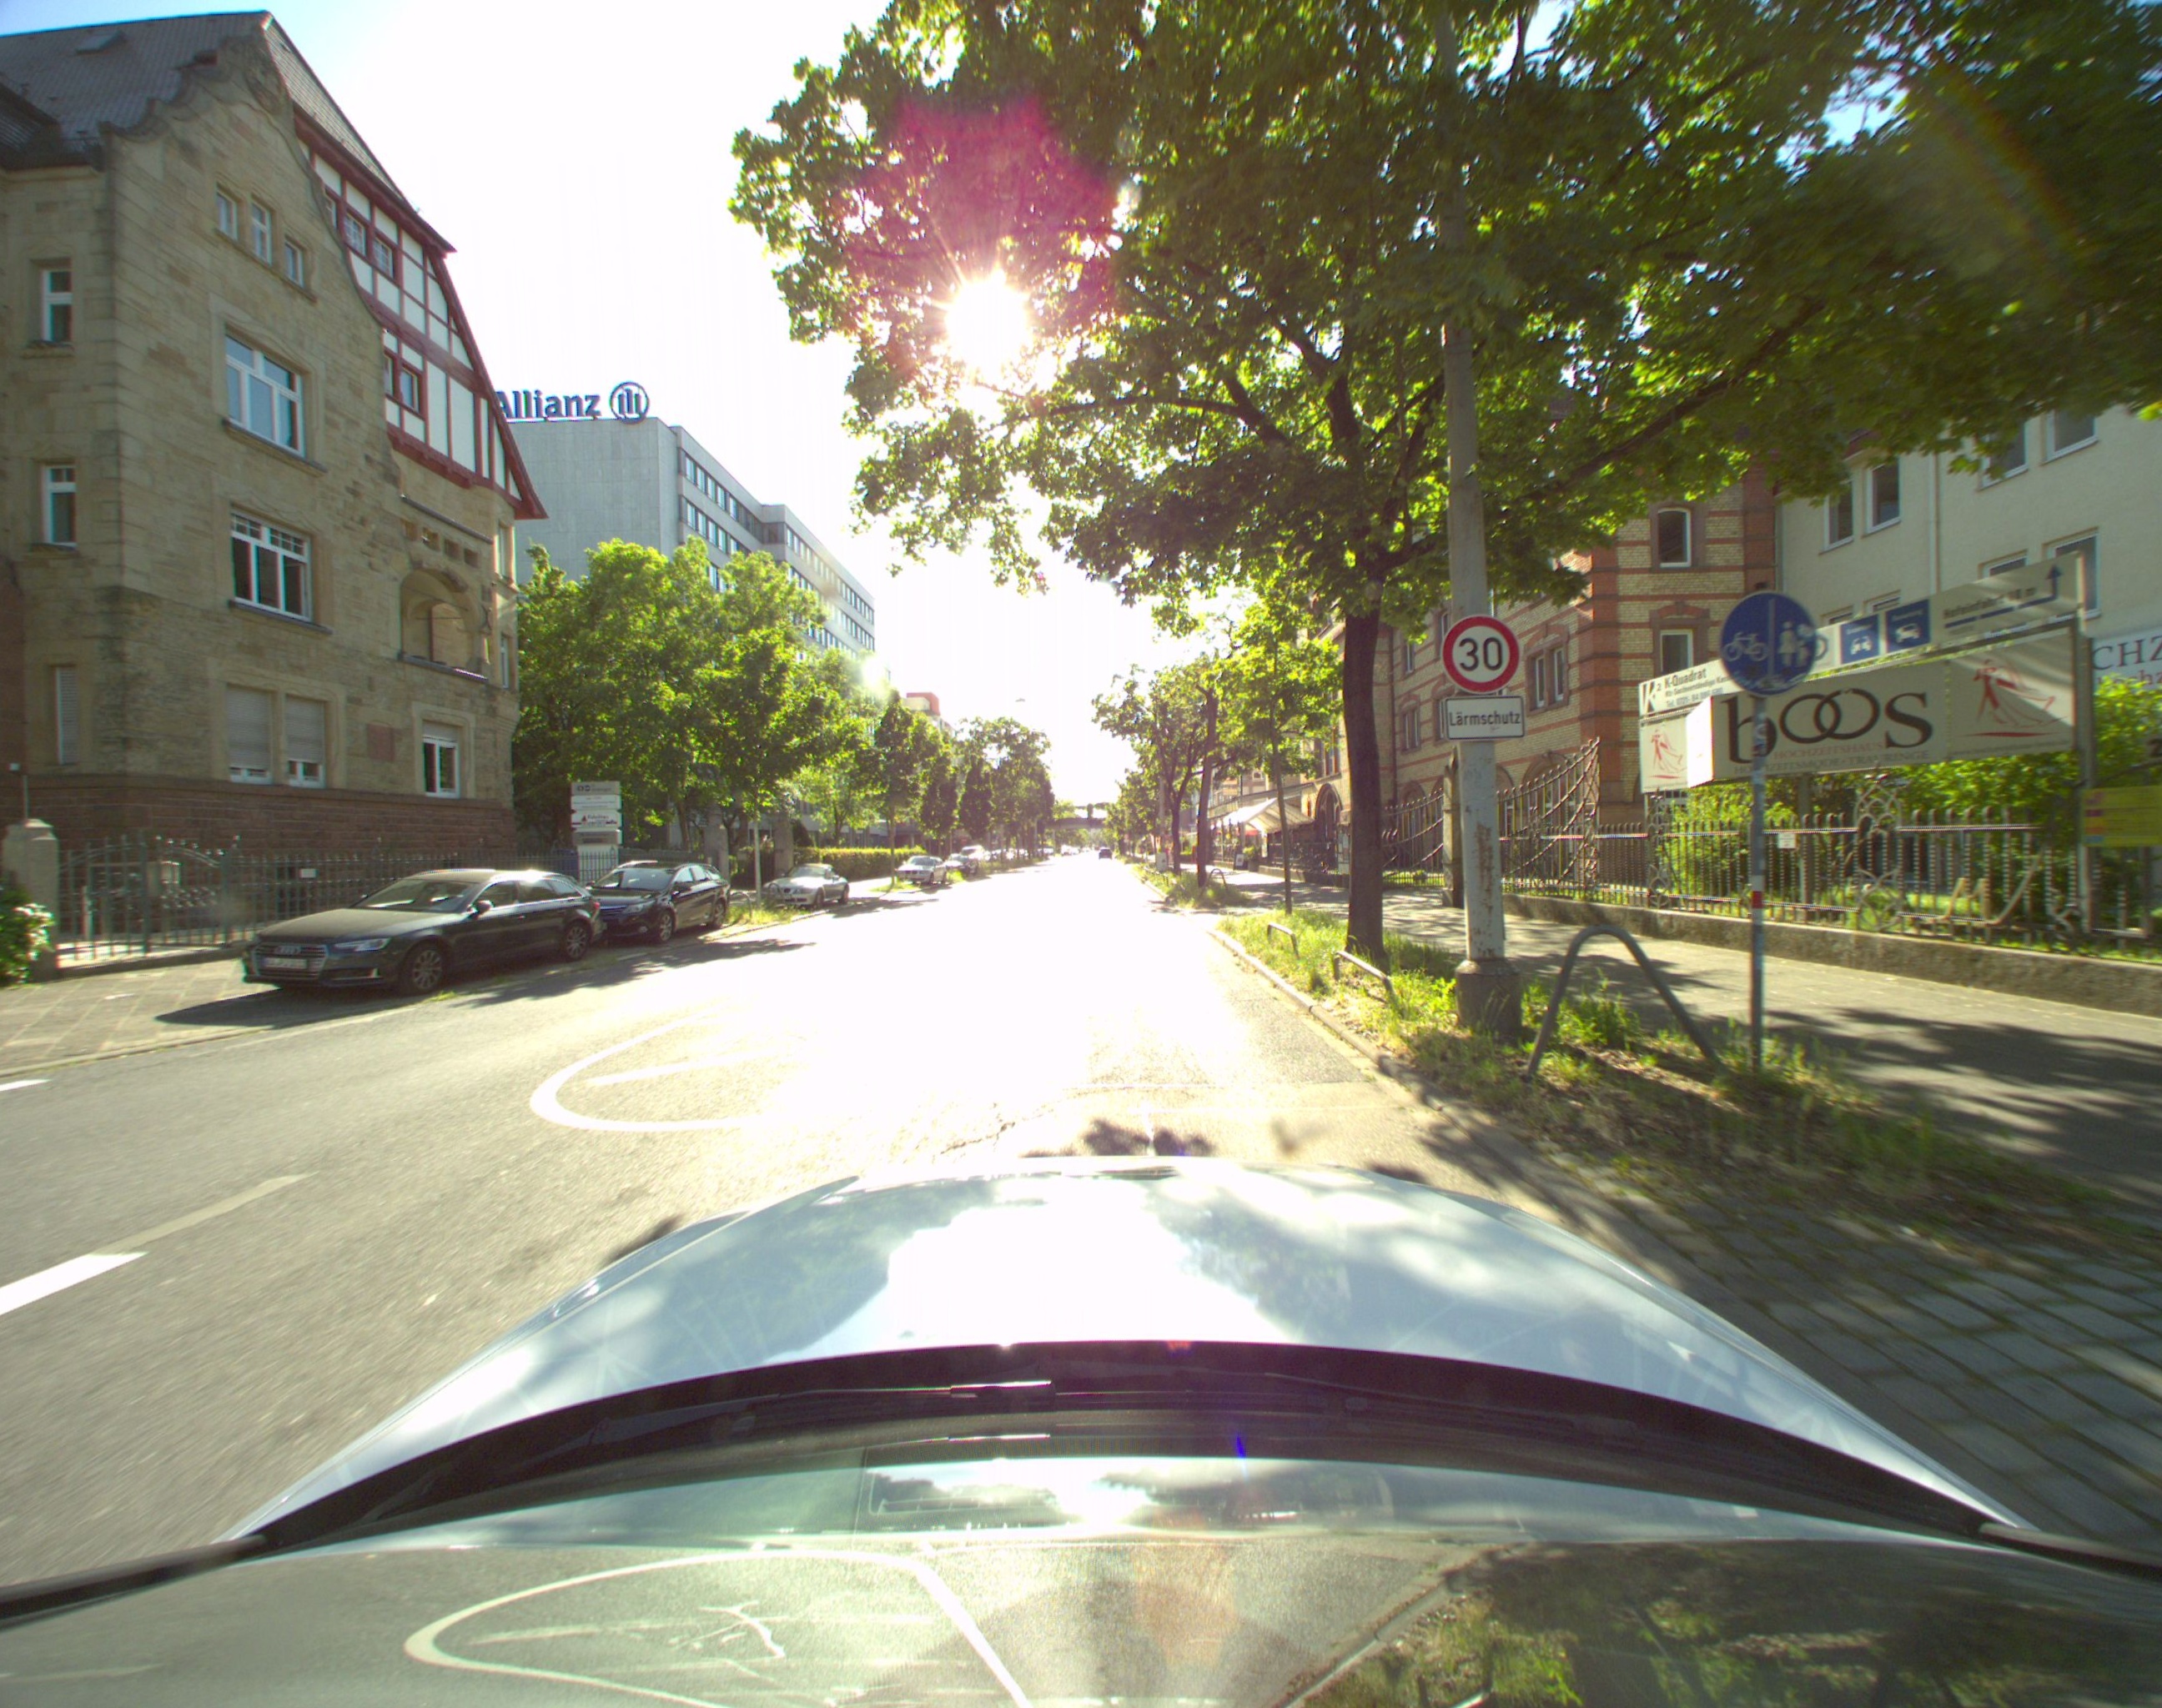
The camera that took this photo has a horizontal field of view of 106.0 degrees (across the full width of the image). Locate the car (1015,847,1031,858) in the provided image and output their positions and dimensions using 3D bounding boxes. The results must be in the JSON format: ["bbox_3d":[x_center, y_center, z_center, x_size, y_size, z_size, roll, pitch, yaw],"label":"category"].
[{"bbox_3d":[-8.392,-0.218,118.133,1.849,1.523,4.319,0,1,0],"label":"car"}]

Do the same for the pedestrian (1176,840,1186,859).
[{"bbox_3d":[8.940,-0.386,72.834,0.652,1.604,0.602,-4,0,-5],"label":"pedestrian"}]

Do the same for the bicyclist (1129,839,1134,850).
[{"bbox_3d":[7.712,-1.454,123.571,0.665,1.695,0.889,-1,0,0],"label":"bicyclist"}]

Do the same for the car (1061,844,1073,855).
[{"bbox_3d":[-2.309,-0.772,136.561,1.850,1.825,4.610,-3,1,0],"label":"car"}]

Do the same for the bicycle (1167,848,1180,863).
[{"bbox_3d":[6.564,0.110,58.096,0.683,1.027,2.096,-1,0,0],"label":"bicycle"}]

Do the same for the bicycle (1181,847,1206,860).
[{"bbox_3d":[10.337,-0.041,75.042,2.187,1.027,0.688,-3,2,2],"label":"bicycle"}]

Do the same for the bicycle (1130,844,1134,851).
[{"bbox_3d":[7.727,-1.004,123.694,0.587,1.027,1.860,-1,0,0],"label":"bicycle"}]

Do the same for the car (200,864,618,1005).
[{"bbox_3d":[-8.974,0.937,11.600,1.848,1.427,4.722,2,1,2],"label":"car"}]

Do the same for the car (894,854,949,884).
[{"bbox_3d":[-7.919,0.708,40.763,1.681,1.383,4.196,0,1,4],"label":"car"}]

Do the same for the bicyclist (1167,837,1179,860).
[{"bbox_3d":[6.571,-0.394,58.005,0.698,1.599,0.955,-1,0,0],"label":"bicyclist"}]

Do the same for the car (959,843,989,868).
[{"bbox_3d":[-9.639,0.144,73.678,1.975,2.076,5.194,-3,1,-1],"label":"car"}]

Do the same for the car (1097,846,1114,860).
[{"bbox_3d":[2.960,-0.132,100.834,1.978,1.600,4.140,-1,1,0],"label":"car"}]

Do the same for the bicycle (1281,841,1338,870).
[{"bbox_3d":[9.574,0.065,34.095,2.192,1.178,0.686,-1,0,-5],"label":"bicycle"}]

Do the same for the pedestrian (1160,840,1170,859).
[{"bbox_3d":[7.501,-0.398,72.499,0.652,1.604,0.602,-4,0,-5],"label":"pedestrian"}]

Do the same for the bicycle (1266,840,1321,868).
[{"bbox_3d":[9.204,0.005,35.306,2.192,1.178,0.686,-1,0,-5],"label":"bicycle"}]

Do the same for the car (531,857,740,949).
[{"bbox_3d":[-8.757,0.869,16.589,1.852,1.494,4.700,2,0,-3],"label":"car"}]

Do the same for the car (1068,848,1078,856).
[{"bbox_3d":[-1.725,-0.459,170.609,1.849,1.568,4.716,-3,0,1],"label":"car"}]

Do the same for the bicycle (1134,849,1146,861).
[{"bbox_3d":[5.599,0.082,77.165,0.586,1.066,2.032,-1,1,18],"label":"bicycle"}]

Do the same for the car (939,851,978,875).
[{"bbox_3d":[-7.772,0.543,52.091,1.705,1.458,4.075,0,1,3],"label":"car"}]

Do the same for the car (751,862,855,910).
[{"bbox_3d":[-8.337,0.922,24.821,1.672,1.255,4.017,0,1,2],"label":"car"}]
